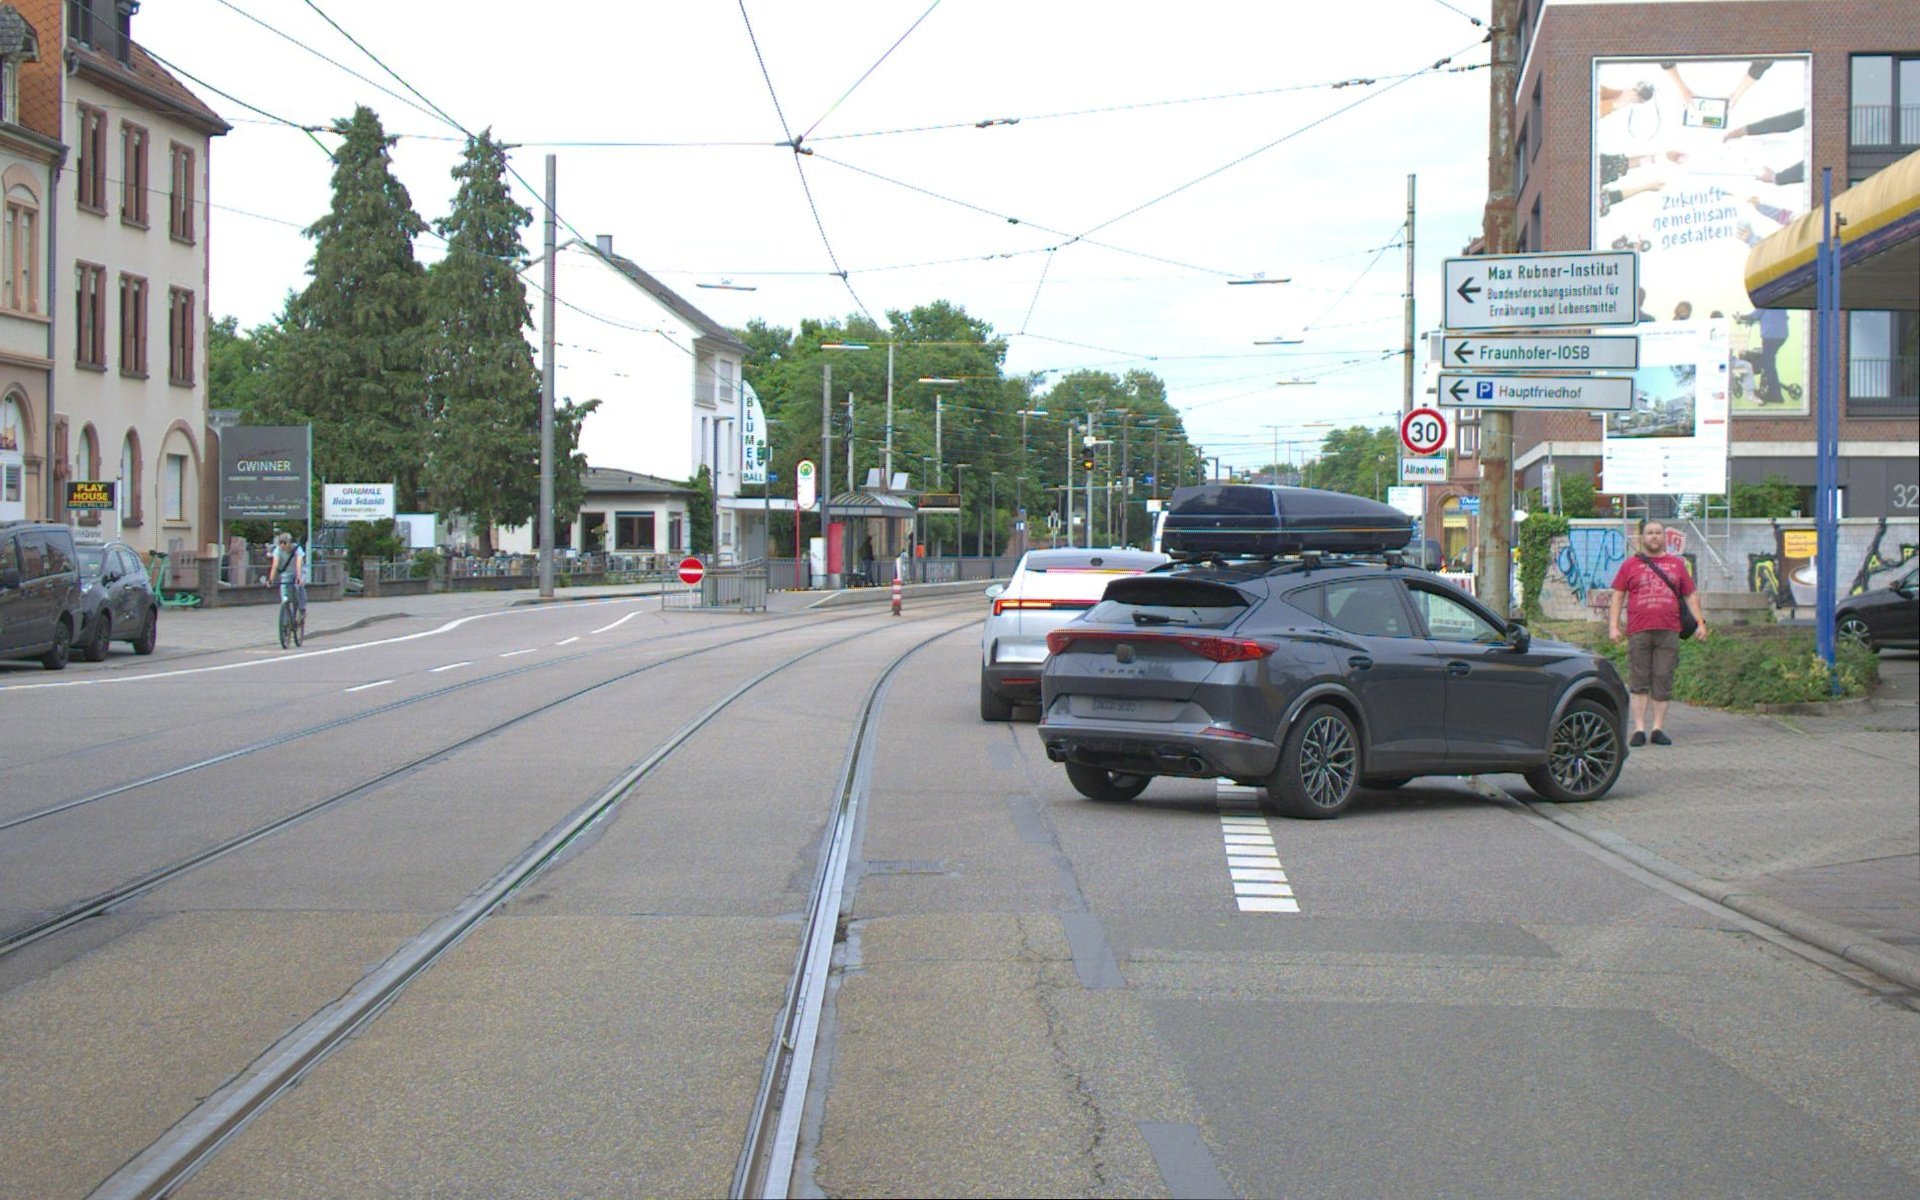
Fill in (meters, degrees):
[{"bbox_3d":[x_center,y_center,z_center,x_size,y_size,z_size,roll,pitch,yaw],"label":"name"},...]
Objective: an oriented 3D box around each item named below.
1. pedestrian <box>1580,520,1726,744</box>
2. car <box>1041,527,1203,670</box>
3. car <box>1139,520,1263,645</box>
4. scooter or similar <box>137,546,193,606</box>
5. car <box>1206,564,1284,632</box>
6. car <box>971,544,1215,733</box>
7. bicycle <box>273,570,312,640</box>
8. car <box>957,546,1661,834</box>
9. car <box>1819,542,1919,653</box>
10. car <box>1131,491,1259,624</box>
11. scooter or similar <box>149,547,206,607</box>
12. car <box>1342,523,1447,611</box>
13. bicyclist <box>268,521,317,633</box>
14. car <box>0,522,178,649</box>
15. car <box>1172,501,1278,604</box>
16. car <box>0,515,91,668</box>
[{"bbox_3d":[5.510,0.249,27.383,0.972,1.732,0.861,-2,0,3],"label":"pedestrian"},{"bbox_3d":[2.101,-0.030,45.452,1.969,1.750,3.838,2,0,1],"label":"car"},{"bbox_3d":[4.103,-0.307,59.036,1.994,2.007,4.000,2,0,3],"label":"car"},{"bbox_3d":[-16.242,-0.487,70.230,1.049,1.184,0.318,2,0,-32],"label":"scooter or similar"},{"bbox_3d":[8.822,-0.070,106.739,1.993,2.007,4.000,2,0,-1],"label":"car"},{"bbox_3d":[1.137,0.297,31.383,1.981,1.544,4.183,2,1,0],"label":"car"},{"bbox_3d":[-10.571,0.070,54.492,0.586,1.070,1.957,-1,1,-11],"label":"bicycle"},{"bbox_3d":[2.229,0.464,21.178,4.315,1.492,1.995,-1,4,-45],"label":"car"},{"bbox_3d":[13.408,-0.021,44.456,1.946,1.422,4.887,0,1,-22],"label":"car"},{"bbox_3d":[4.543,-0.815,67.079,2.216,2.415,4.951,2,0,2],"label":"car"},{"bbox_3d":[-15.869,-0.463,69.758,1.049,1.184,0.318,2,0,-32],"label":"scooter or similar"},{"bbox_3d":[9.413,-0.712,74.791,1.874,1.817,4.096,2,0,2],"label":"car"},{"bbox_3d":[-10.583,-0.366,54.521,0.735,1.743,0.979,-1,1,-11],"label":"bicyclist"},{"bbox_3d":[-12.739,-0.222,49.536,1.844,1.712,4.193,2,0,1],"label":"car"},{"bbox_3d":[5.840,-1.033,76.246,2.139,2.138,4.743,2,0,3],"label":"car"},{"bbox_3d":[-12.735,-0.146,43.496,1.992,1.880,4.998,2,0,2],"label":"car"}]
